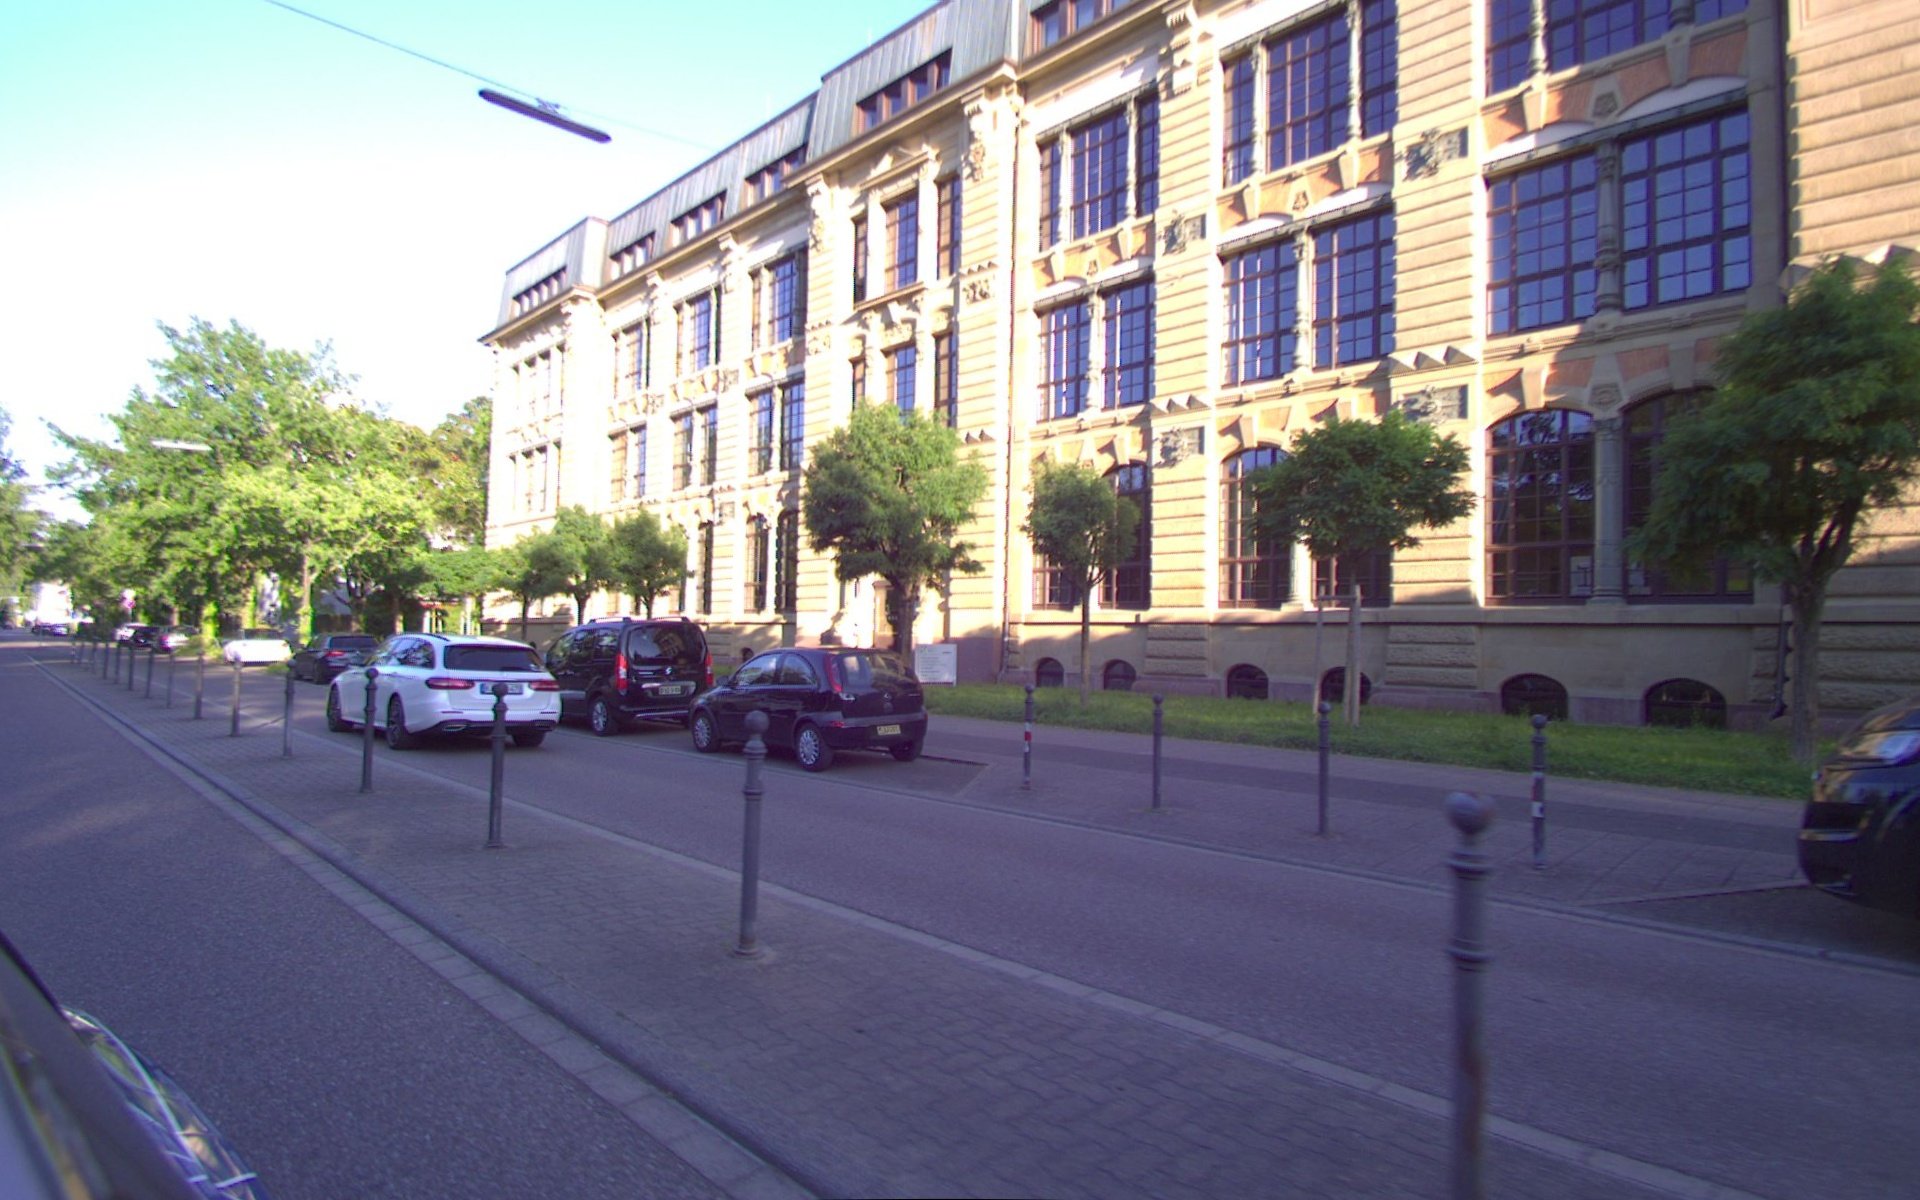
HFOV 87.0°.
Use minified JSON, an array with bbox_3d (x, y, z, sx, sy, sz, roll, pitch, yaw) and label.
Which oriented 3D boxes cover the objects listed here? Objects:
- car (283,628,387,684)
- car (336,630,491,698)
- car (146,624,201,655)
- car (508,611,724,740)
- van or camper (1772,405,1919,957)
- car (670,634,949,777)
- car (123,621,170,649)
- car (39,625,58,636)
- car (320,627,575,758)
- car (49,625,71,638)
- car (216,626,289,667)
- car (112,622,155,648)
[{"bbox_3d":[-18.403,1.602,29.725,1.599,1.507,4.380,3,-3,-45],"label":"car"},{"bbox_3d":[-13.447,1.505,24.820,4.370,1.507,1.702,-1,-3,38],"label":"car"},{"bbox_3d":[-41.620,2.050,53.511,1.781,1.522,4.867,2,-2,-43],"label":"car"},{"bbox_3d":[-5.883,1.158,17.017,1.757,1.880,4.335,0,-1,-44],"label":"car"},{"bbox_3d":[7.360,0.357,3.356,7.083,2.564,2.204,-1,-2,45],"label":"van or camper"},{"bbox_3d":[-2.053,1.218,13.008,1.676,1.481,3.858,0,-1,-43],"label":"car"},{"bbox_3d":[-49.115,2.098,61.065,1.759,1.628,4.149,2,-2,-45],"label":"car"},{"bbox_3d":[-129.675,4.343,143.933,1.751,1.580,4.111,2,-3,-44],"label":"car"},{"bbox_3d":[-7.185,1.154,13.938,4.626,1.469,1.721,-1,-4,45],"label":"car"},{"bbox_3d":[-108.967,3.801,122.493,1.751,1.494,4.111,2,-3,-44],"label":"car"},{"bbox_3d":[-27.301,1.771,39.004,1.599,1.507,3.927,3,-3,-45],"label":"car"},{"bbox_3d":[-54.937,2.326,67.237,1.782,1.628,4.149,4,-3,-45],"label":"car"}]
